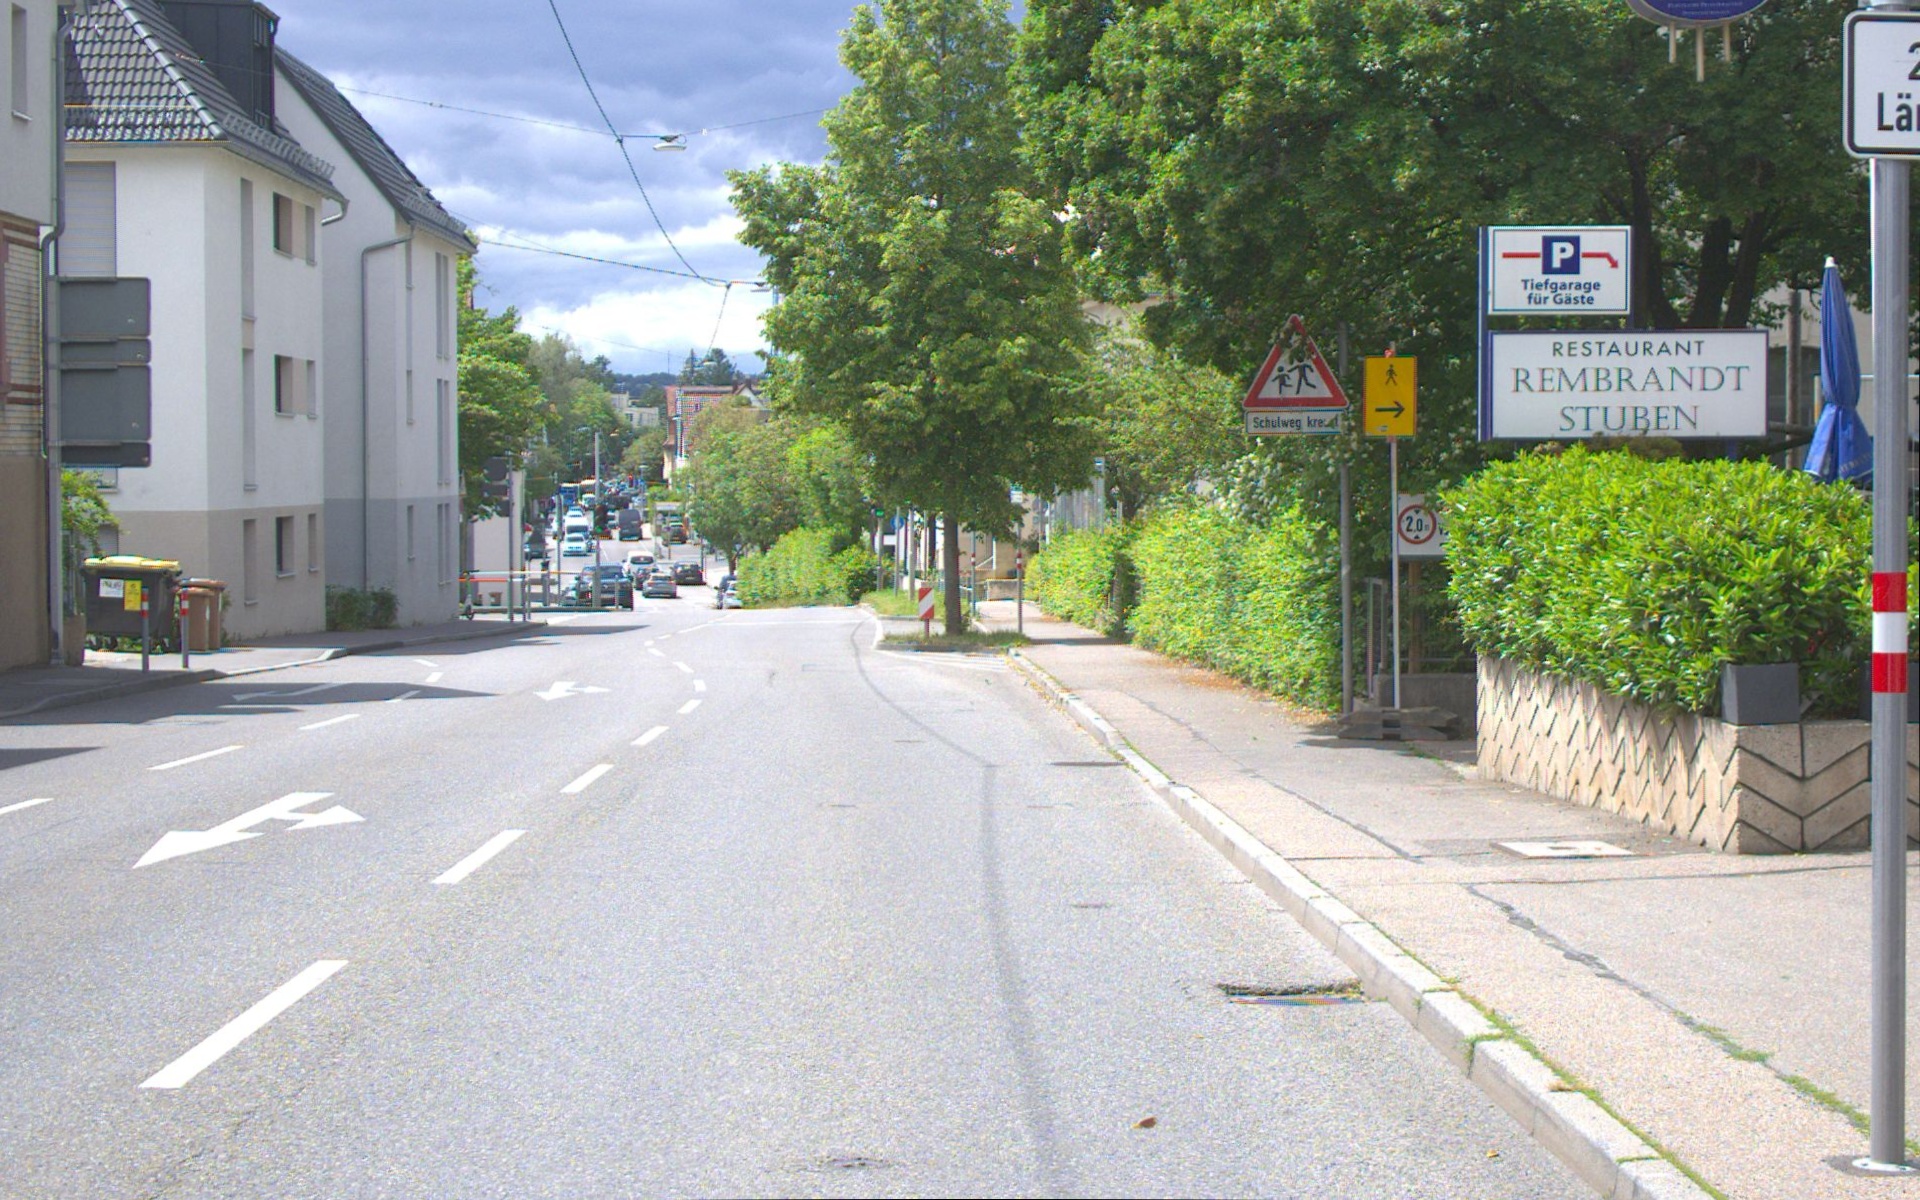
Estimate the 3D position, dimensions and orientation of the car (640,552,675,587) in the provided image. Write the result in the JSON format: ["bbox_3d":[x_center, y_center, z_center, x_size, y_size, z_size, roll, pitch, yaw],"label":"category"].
[{"bbox_3d":[-17.872,-1.788,203.124,1.993,2.007,4.001,-1,0,-5],"label":"car"}]

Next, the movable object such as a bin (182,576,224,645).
[{"bbox_3d":[-11.249,0.154,51.095,0.531,1.026,0.455,0,1,-3],"label":"movable object such as a bin"}]

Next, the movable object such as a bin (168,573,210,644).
[{"bbox_3d":[-11.304,0.120,50.427,0.531,1.026,0.455,0,1,-3],"label":"movable object such as a bin"}]

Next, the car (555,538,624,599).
[{"bbox_3d":[-12.518,-1.078,115.967,1.993,2.007,4.001,0,1,-10],"label":"car"}]

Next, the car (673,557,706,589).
[{"bbox_3d":[-17.238,-1.700,219.013,1.993,2.007,4.001,-1,0,-5],"label":"car"}]

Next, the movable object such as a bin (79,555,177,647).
[{"bbox_3d":[-11.934,0.002,49.332,1.281,1.305,0.816,0,1,-7],"label":"movable object such as a bin"}]
